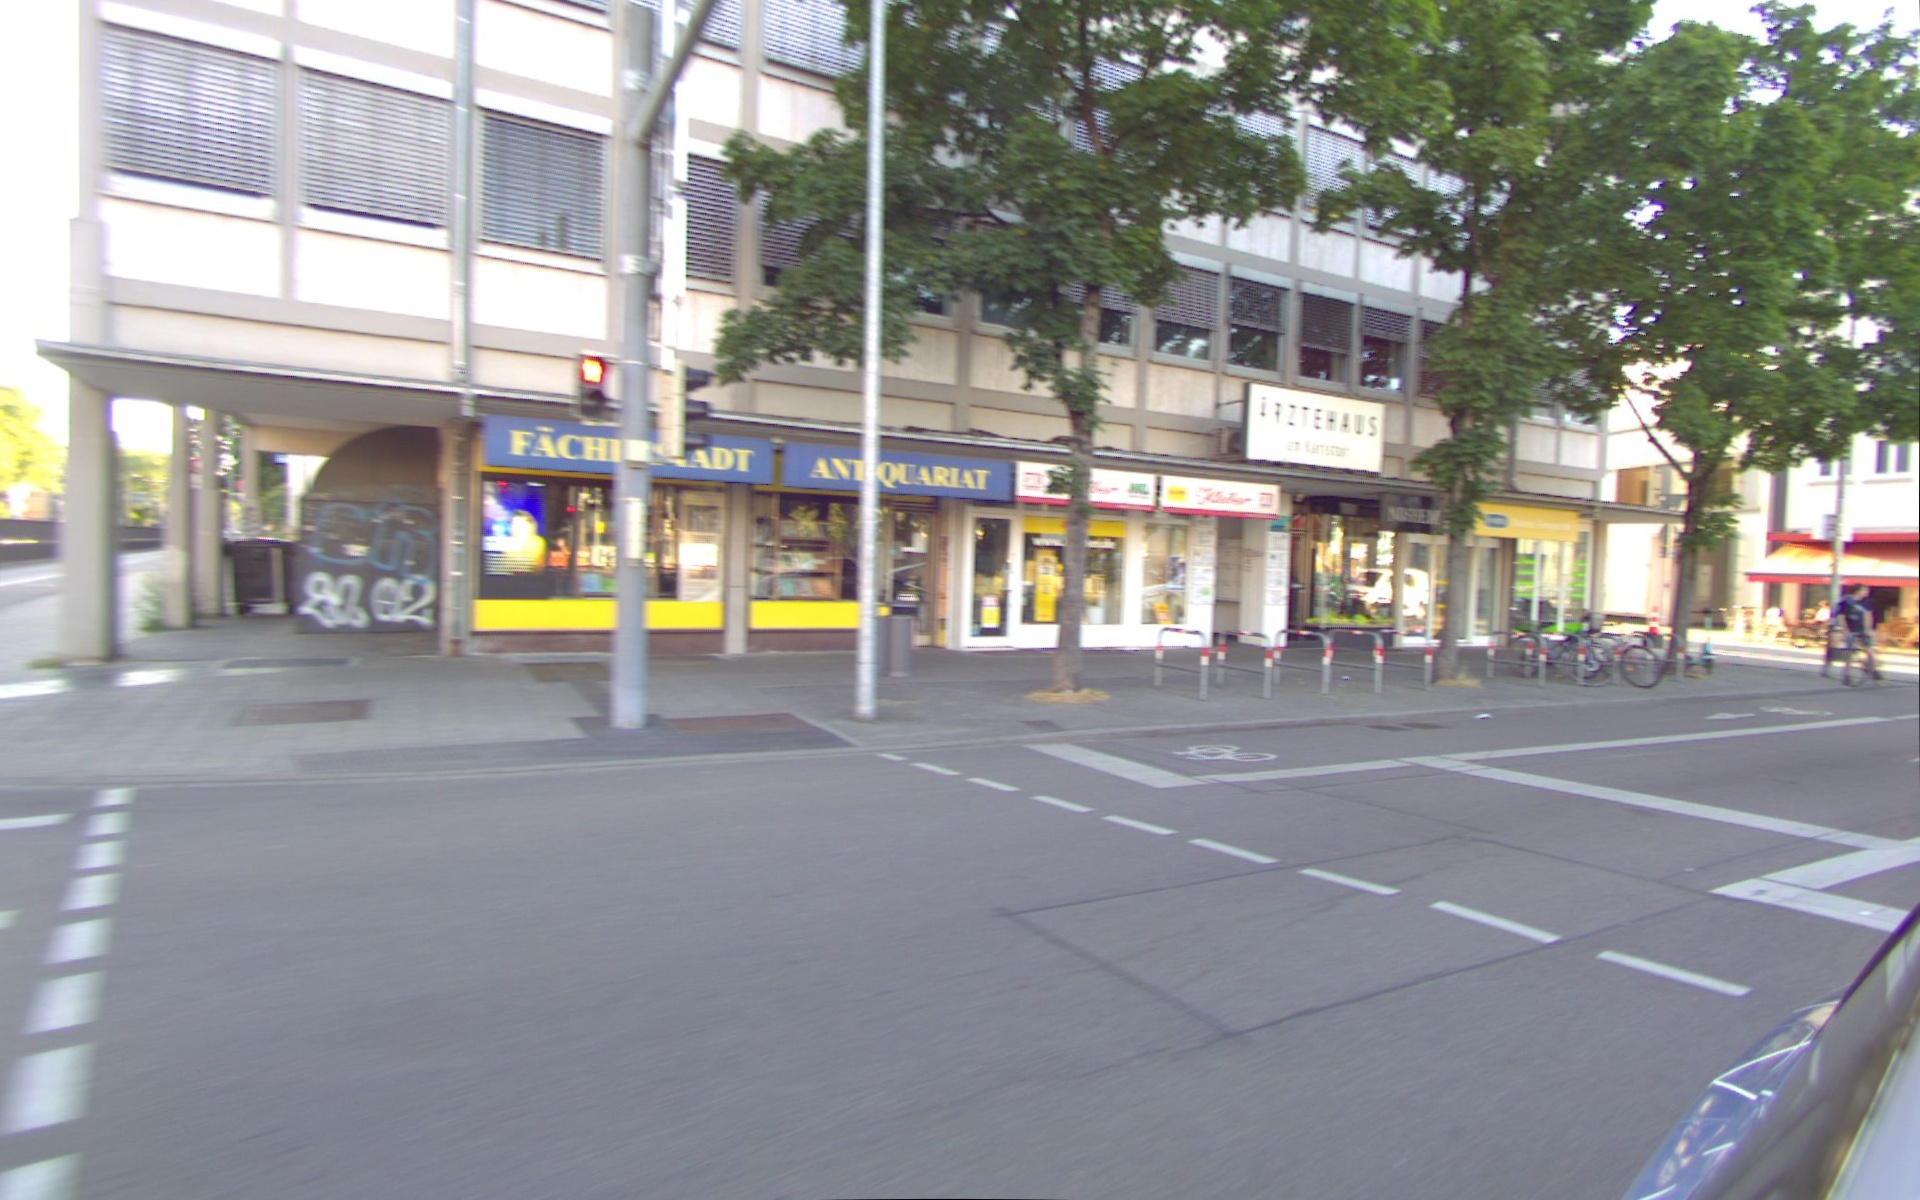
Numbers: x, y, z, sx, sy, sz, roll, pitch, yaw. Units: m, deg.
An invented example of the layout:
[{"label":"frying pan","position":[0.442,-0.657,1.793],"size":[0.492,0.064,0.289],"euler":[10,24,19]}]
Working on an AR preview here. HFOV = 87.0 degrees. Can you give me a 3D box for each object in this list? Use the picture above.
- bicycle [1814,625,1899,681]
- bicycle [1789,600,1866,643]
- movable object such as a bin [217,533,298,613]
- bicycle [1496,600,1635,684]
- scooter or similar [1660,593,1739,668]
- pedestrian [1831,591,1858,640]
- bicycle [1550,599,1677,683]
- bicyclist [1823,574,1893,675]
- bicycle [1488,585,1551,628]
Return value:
[{"label":"bicycle","position":[16.236,0.938,18.327],"size":[1.657,0.912,0.676],"euler":[0,3,-32]},{"label":"bicycle","position":[26.163,0.629,30.554],"size":[0.588,1.180,1.638],"euler":[-2,4,-24]},{"label":"movable object such as a bin","position":[-12.410,-0.500,17.922],"size":[0.940,1.343,1.417],"euler":[1,3,-25]},{"label":"bicycle","position":[9.742,0.638,16.343],"size":[0.654,1.154,1.746],"euler":[0,4,-36]},{"label":"scooter or similar","position":[14.145,0.558,19.396],"size":[0.505,1.338,1.281],"euler":[2,2,1]},{"label":"pedestrian","position":[27.311,0.484,31.256],"size":[0.506,1.467,0.501],"euler":[3,2,34]},{"label":"bicycle","position":[10.685,0.643,16.607],"size":[0.527,1.199,1.640],"euler":[1,3,-28]},{"label":"bicyclist","position":[16.234,0.422,18.300],"size":[0.794,1.748,0.667],"euler":[1,2,-32]},{"label":"bicycle","position":[17.383,0.197,31.458],"size":[1.682,1.200,0.541],"euler":[4,1,-12]}]
